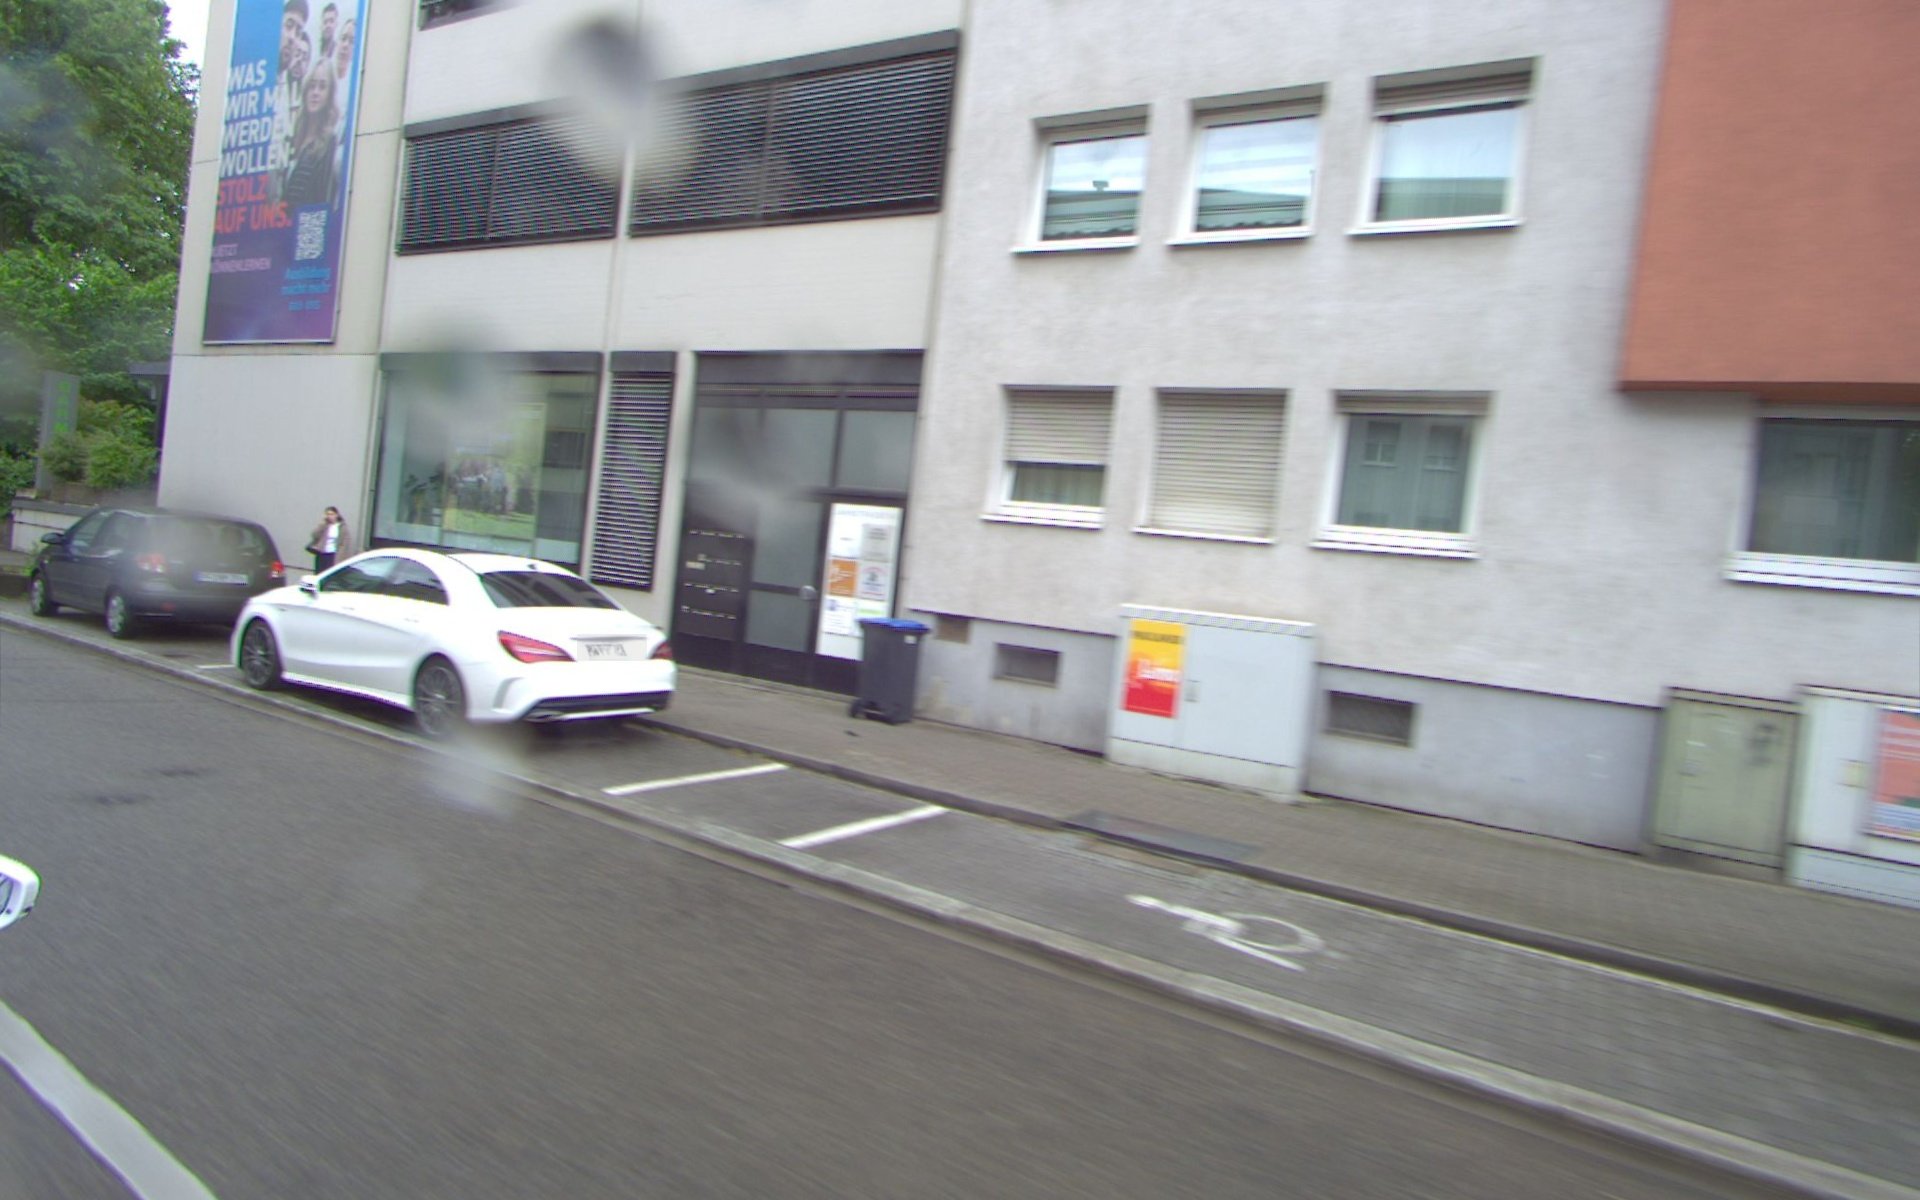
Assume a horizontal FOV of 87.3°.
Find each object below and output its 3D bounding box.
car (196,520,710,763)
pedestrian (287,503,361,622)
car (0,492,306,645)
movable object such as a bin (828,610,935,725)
[{"bbox_3d":[-4.554,0.233,8.848,4.501,1.420,1.776,7,2,29],"label":"car"},{"bbox_3d":[-9.868,-0.572,15.612,0.669,1.760,0.613,6,2,25],"label":"pedestrian"},{"bbox_3d":[-9.967,-0.413,12.354,4.015,1.461,1.714,7,2,33],"label":"car"},{"bbox_3d":[-0.821,0.705,10.652,0.770,1.081,0.714,7,1,26],"label":"movable object such as a bin"}]
